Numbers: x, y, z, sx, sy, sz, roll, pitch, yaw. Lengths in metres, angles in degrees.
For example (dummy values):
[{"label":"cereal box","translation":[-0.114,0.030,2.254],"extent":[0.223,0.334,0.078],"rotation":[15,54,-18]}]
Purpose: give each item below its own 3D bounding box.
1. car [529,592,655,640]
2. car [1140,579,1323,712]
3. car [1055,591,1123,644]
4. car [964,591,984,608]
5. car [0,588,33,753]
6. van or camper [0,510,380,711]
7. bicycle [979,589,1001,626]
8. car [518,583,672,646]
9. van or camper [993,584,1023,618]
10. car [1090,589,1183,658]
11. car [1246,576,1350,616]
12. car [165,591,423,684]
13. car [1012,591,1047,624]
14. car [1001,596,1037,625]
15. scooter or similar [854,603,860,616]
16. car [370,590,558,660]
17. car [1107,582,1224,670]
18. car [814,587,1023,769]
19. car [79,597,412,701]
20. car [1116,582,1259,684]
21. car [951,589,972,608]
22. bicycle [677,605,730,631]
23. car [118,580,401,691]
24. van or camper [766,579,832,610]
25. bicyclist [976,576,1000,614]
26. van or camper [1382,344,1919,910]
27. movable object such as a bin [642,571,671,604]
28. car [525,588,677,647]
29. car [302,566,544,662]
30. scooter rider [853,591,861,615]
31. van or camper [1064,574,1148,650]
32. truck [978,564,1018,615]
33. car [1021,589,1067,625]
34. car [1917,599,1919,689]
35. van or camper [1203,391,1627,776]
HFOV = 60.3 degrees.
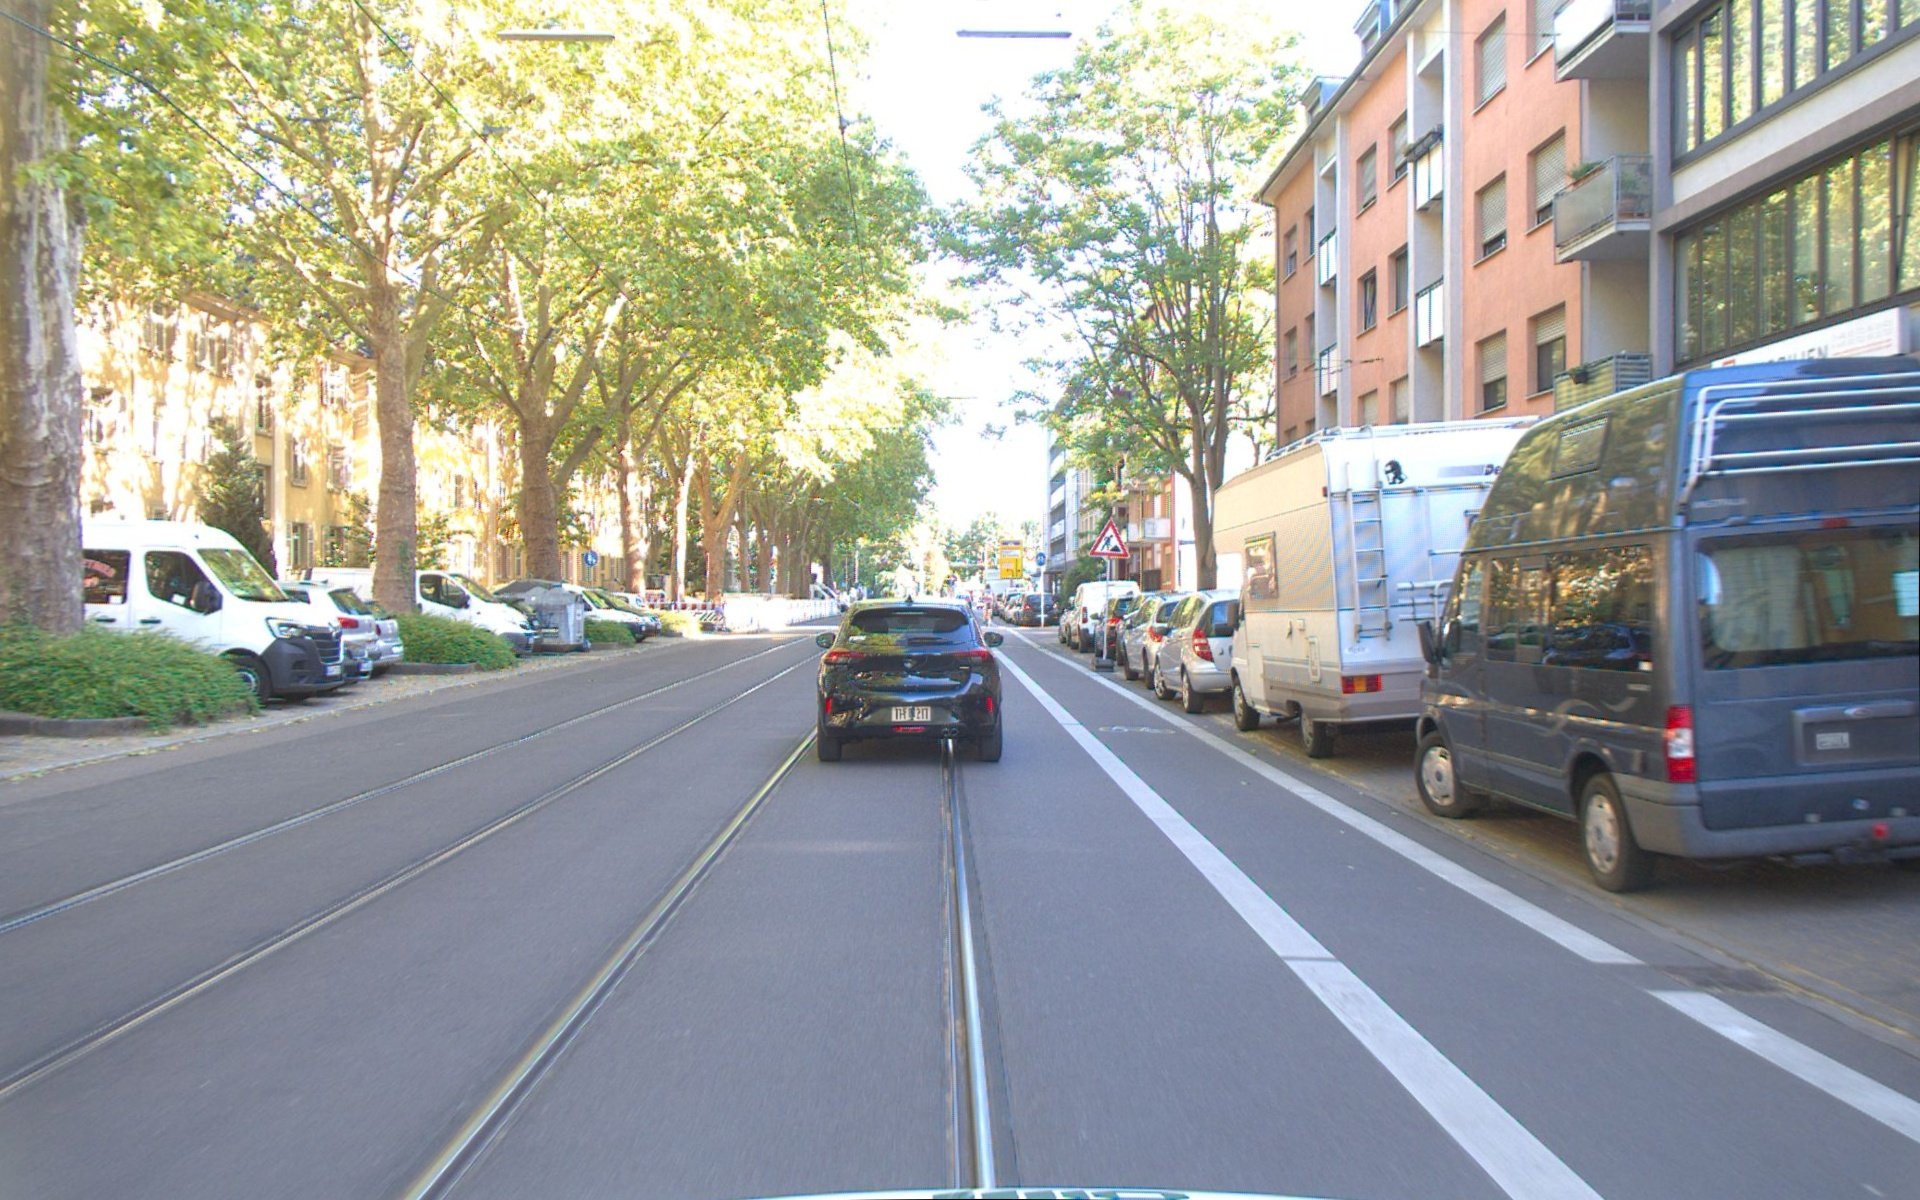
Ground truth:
[{"label":"car","translation":[-12.193,0.510,54.976],"extent":[3.769,1.524,1.862],"rotation":[-1,0,-1]},{"label":"car","translation":[3.739,0.574,23.481],"extent":[1.756,1.656,4.275],"rotation":[-2,0,-1]},{"label":"car","translation":[3.849,0.495,49.928],"extent":[1.671,1.498,3.999],"rotation":[-1,0,-1]},{"label":"car","translation":[1.488,-0.067,177.219],"extent":[1.953,1.725,4.739],"rotation":[-2,0,-1]},{"label":"car","translation":[-11.063,0.669,15.707],"extent":[3.605,1.592,1.613],"rotation":[0,0,2]},{"label":"van or camper","translation":[-10.976,0.119,22.478],"extent":[5.278,2.560,2.445],"rotation":[0,0,1]},{"label":"bicycle","translation":[1.329,0.306,73.522],"extent":[0.897,1.588,3.404],"rotation":[0,0,0]},{"label":"car","translation":[-10.688,0.417,48.640],"extent":[4.112,1.788,1.740],"rotation":[0,0,0]},{"label":"van or camper","translation":[2.846,0.042,98.862],"extent":[1.635,1.915,4.210],"rotation":[-1,0,0]},{"label":"car","translation":[4.088,0.507,38.842],"extent":[1.671,1.498,4.167],"rotation":[-1,0,-1]},{"label":"car","translation":[13.463,-0.173,65.981],"extent":[3.835,1.508,1.561],"rotation":[0,3,-2]},{"label":"car","translation":[-11.675,0.640,29.170],"extent":[3.769,1.524,1.862],"rotation":[-1,0,-1]},{"label":"car","translation":[3.473,0.366,83.108],"extent":[1.559,1.553,3.835],"rotation":[-2,0,0]},{"label":"car","translation":[3.118,0.523,88.312],"extent":[1.626,1.424,4.739],"rotation":[-2,0,-1]},{"label":"scooter or similar","translation":[-8.652,0.778,138.868],"extent":[0.399,1.102,1.338],"rotation":[1,0,0]},{"label":"car","translation":[-11.433,0.560,38.286],"extent":[3.769,1.524,1.862],"rotation":[-1,0,-1]},{"label":"car","translation":[4.122,0.481,33.763],"extent":[1.732,1.599,4.336],"rotation":[-2,0,-1]},{"label":"car","translation":[-0.381,0.646,15.871],"extent":[1.745,1.522,3.999],"rotation":[0,0,-1]},{"label":"car","translation":[-10.574,0.699,24.679],"extent":[4.177,1.423,1.753],"rotation":[-1,0,-1]},{"label":"car","translation":[3.843,0.515,28.620],"extent":[1.752,1.548,4.321],"rotation":[-2,0,-1]},{"label":"car","translation":[0.122,-0.125,160.568],"extent":[1.953,1.725,4.739],"rotation":[-2,0,-1]},{"label":"bicycle","translation":[-10.037,0.695,64.700],"extent":[1.932,0.979,0.726],"rotation":[0,0,0]},{"label":"car","translation":[-11.288,0.549,26.849],"extent":[3.769,1.692,1.862],"rotation":[-1,0,-1]},{"label":"van or camper","translation":[-14.258,-0.479,146.394],"extent":[5.607,2.690,2.269],"rotation":[1,0,-1]},{"label":"bicyclist","translation":[1.241,-0.220,73.566],"extent":[1.067,1.676,1.400],"rotation":[0,0,0]},{"label":"van or camper","translation":[4.463,0.099,10.573],"extent":[2.089,2.709,4.978],"rotation":[-2,0,-1]},{"label":"movable object such as a bin","translation":[-17.692,-0.736,96.383],"extent":[1.306,1.901,2.007],"rotation":[1,0,-1]},{"label":"car","translation":[-10.993,0.519,50.815],"extent":[4.145,1.717,1.934],"rotation":[-1,0,6]},{"label":"car","translation":[-11.412,0.299,35.432],"extent":[4.565,1.979,1.960],"rotation":[0,0,-4]},{"label":"scooter rider","translation":[-8.642,0.257,138.780],"extent":[0.636,1.991,0.624],"rotation":[1,-1,0]},{"label":"van or camper","translation":[3.866,0.293,44.469],"extent":[1.719,1.897,4.829],"rotation":[-1,0,-1]},{"label":"truck","translation":[2.616,-0.710,115.903],"extent":[2.487,3.396,7.194],"rotation":[-3,0,0]},{"label":"car","translation":[3.742,0.291,74.176],"extent":[1.698,1.487,3.915],"rotation":[-2,0,-1]},{"label":"car","translation":[4.523,0.731,3.707],"extent":[1.953,1.519,4.739],"rotation":[-2,0,0]},{"label":"van or camper","translation":[4.264,-0.159,16.954],"extent":[2.412,3.117,6.267],"rotation":[-2,0,-1]}]
